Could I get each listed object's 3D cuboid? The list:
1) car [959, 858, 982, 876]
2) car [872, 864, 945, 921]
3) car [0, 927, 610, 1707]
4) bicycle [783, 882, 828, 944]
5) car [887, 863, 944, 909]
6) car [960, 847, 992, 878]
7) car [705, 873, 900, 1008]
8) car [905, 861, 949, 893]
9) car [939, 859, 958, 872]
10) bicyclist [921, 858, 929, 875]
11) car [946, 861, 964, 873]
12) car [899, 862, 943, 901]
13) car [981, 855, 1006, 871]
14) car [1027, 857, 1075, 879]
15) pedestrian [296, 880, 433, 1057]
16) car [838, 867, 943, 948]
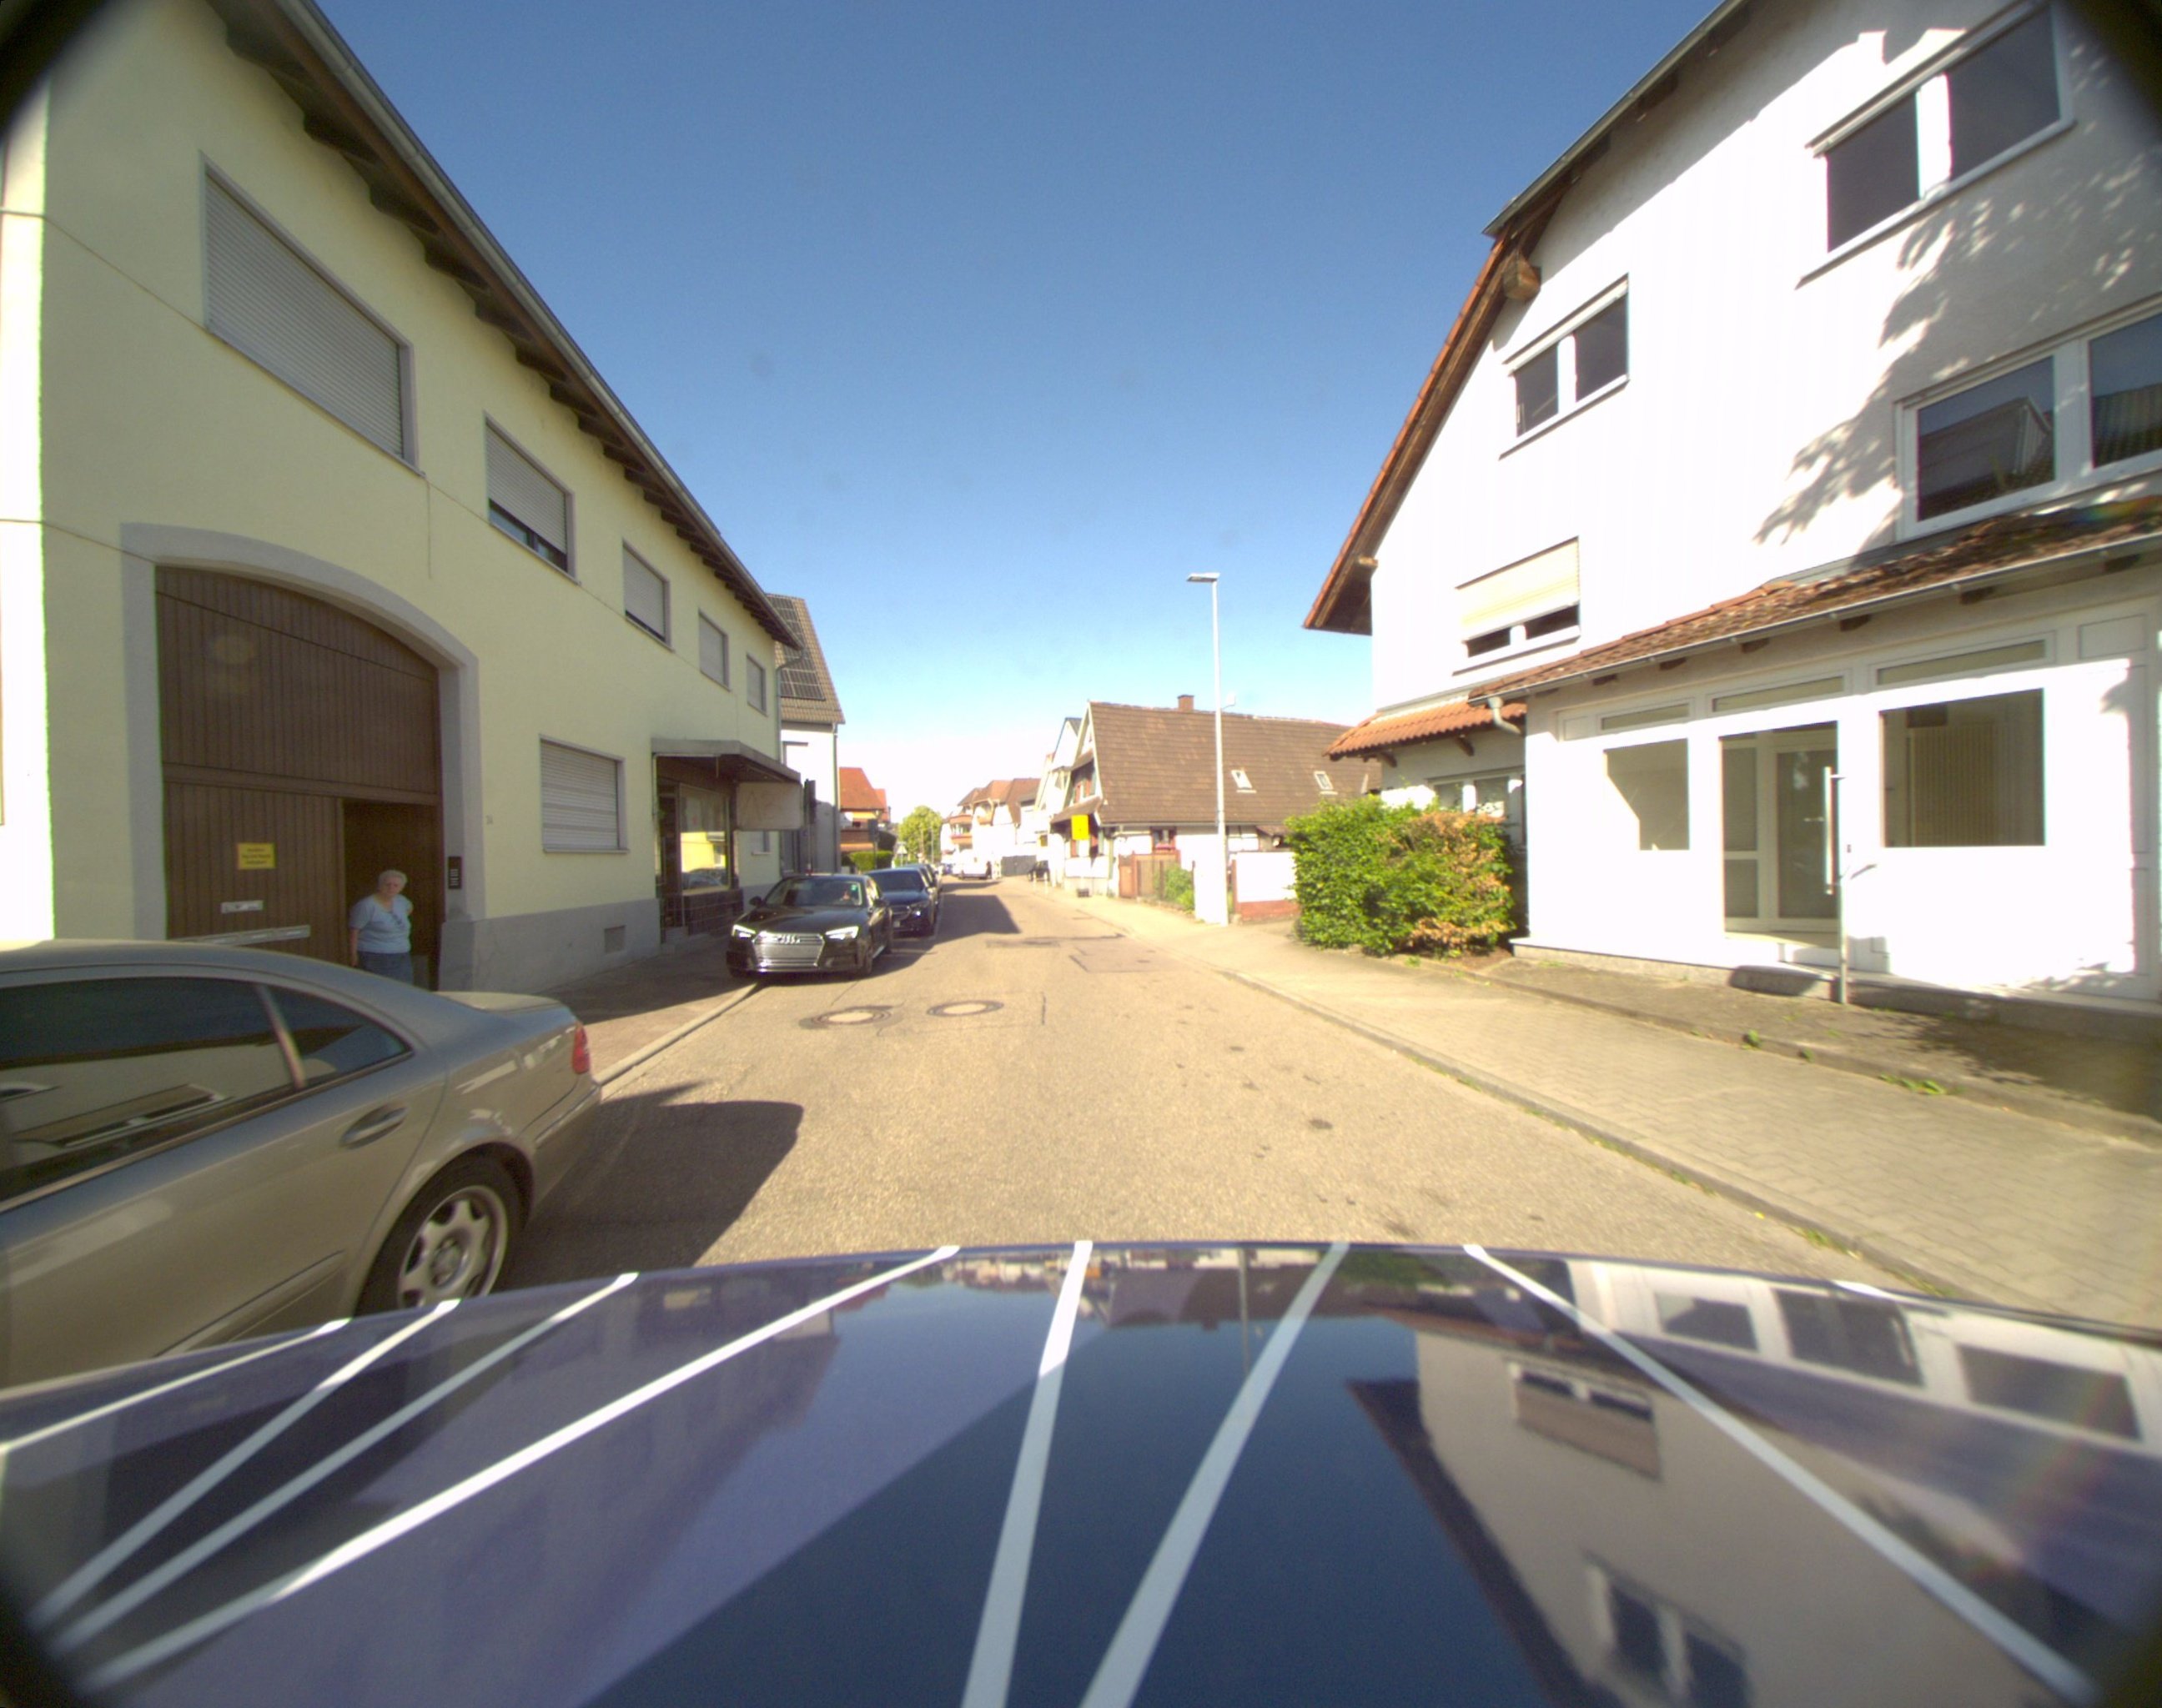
[{"bbox_3d":[-10.847,1.242,74.329,1.729,1.609,4.106,-1,0,-16],"label":"car"},{"bbox_3d":[-5.268,1.127,23.702,1.814,1.466,4.441,-3,0,-8],"label":"car"},{"bbox_3d":[-2.861,1.061,0.969,1.816,1.466,4.658,-1,0,-4],"label":"car"},{"bbox_3d":[-5.532,1.156,15.320,0.509,1.151,1.506,0,0,-7],"label":"bicycle"},{"bbox_3d":[-6.158,1.151,28.643,1.731,1.466,3.872,-3,0,-8],"label":"car"},{"bbox_3d":[-8.981,0.708,64.700,2.260,2.456,5.510,-1,0,-12],"label":"car"},{"bbox_3d":[-4.024,1.128,11.849,1.814,1.466,4.840,-3,0,-8],"label":"car"},{"bbox_3d":[-7.976,1.152,39.633,1.851,1.505,4.503,-2,0,-7],"label":"car"},{"bbox_3d":[-17.357,1.479,99.418,1.766,1.547,3.994,-1,0,-18],"label":"car"},{"bbox_3d":[-14.663,1.166,71.401,0.644,1.655,0.604,-1,0,-11],"label":"bicyclist"},{"bbox_3d":[-15.082,1.564,90.950,1.624,1.430,3.951,-1,0,-16],"label":"car"},{"bbox_3d":[-6.962,1.152,33.276,1.615,1.512,3.968,-3,0,-9],"label":"car"},{"bbox_3d":[-9.101,0.931,78.491,1.649,1.577,4.105,-2,0,-19],"label":"car"},{"bbox_3d":[-2.093,0.953,52.308,1.696,1.437,4.168,-3,1,-26],"label":"car"},{"bbox_3d":[-6.753,1.036,7.205,0.566,1.543,0.769,-2,1,-12],"label":"pedestrian"},{"bbox_3d":[-4.255,1.111,17.702,1.814,1.466,4.840,-3,0,-8],"label":"car"}]
